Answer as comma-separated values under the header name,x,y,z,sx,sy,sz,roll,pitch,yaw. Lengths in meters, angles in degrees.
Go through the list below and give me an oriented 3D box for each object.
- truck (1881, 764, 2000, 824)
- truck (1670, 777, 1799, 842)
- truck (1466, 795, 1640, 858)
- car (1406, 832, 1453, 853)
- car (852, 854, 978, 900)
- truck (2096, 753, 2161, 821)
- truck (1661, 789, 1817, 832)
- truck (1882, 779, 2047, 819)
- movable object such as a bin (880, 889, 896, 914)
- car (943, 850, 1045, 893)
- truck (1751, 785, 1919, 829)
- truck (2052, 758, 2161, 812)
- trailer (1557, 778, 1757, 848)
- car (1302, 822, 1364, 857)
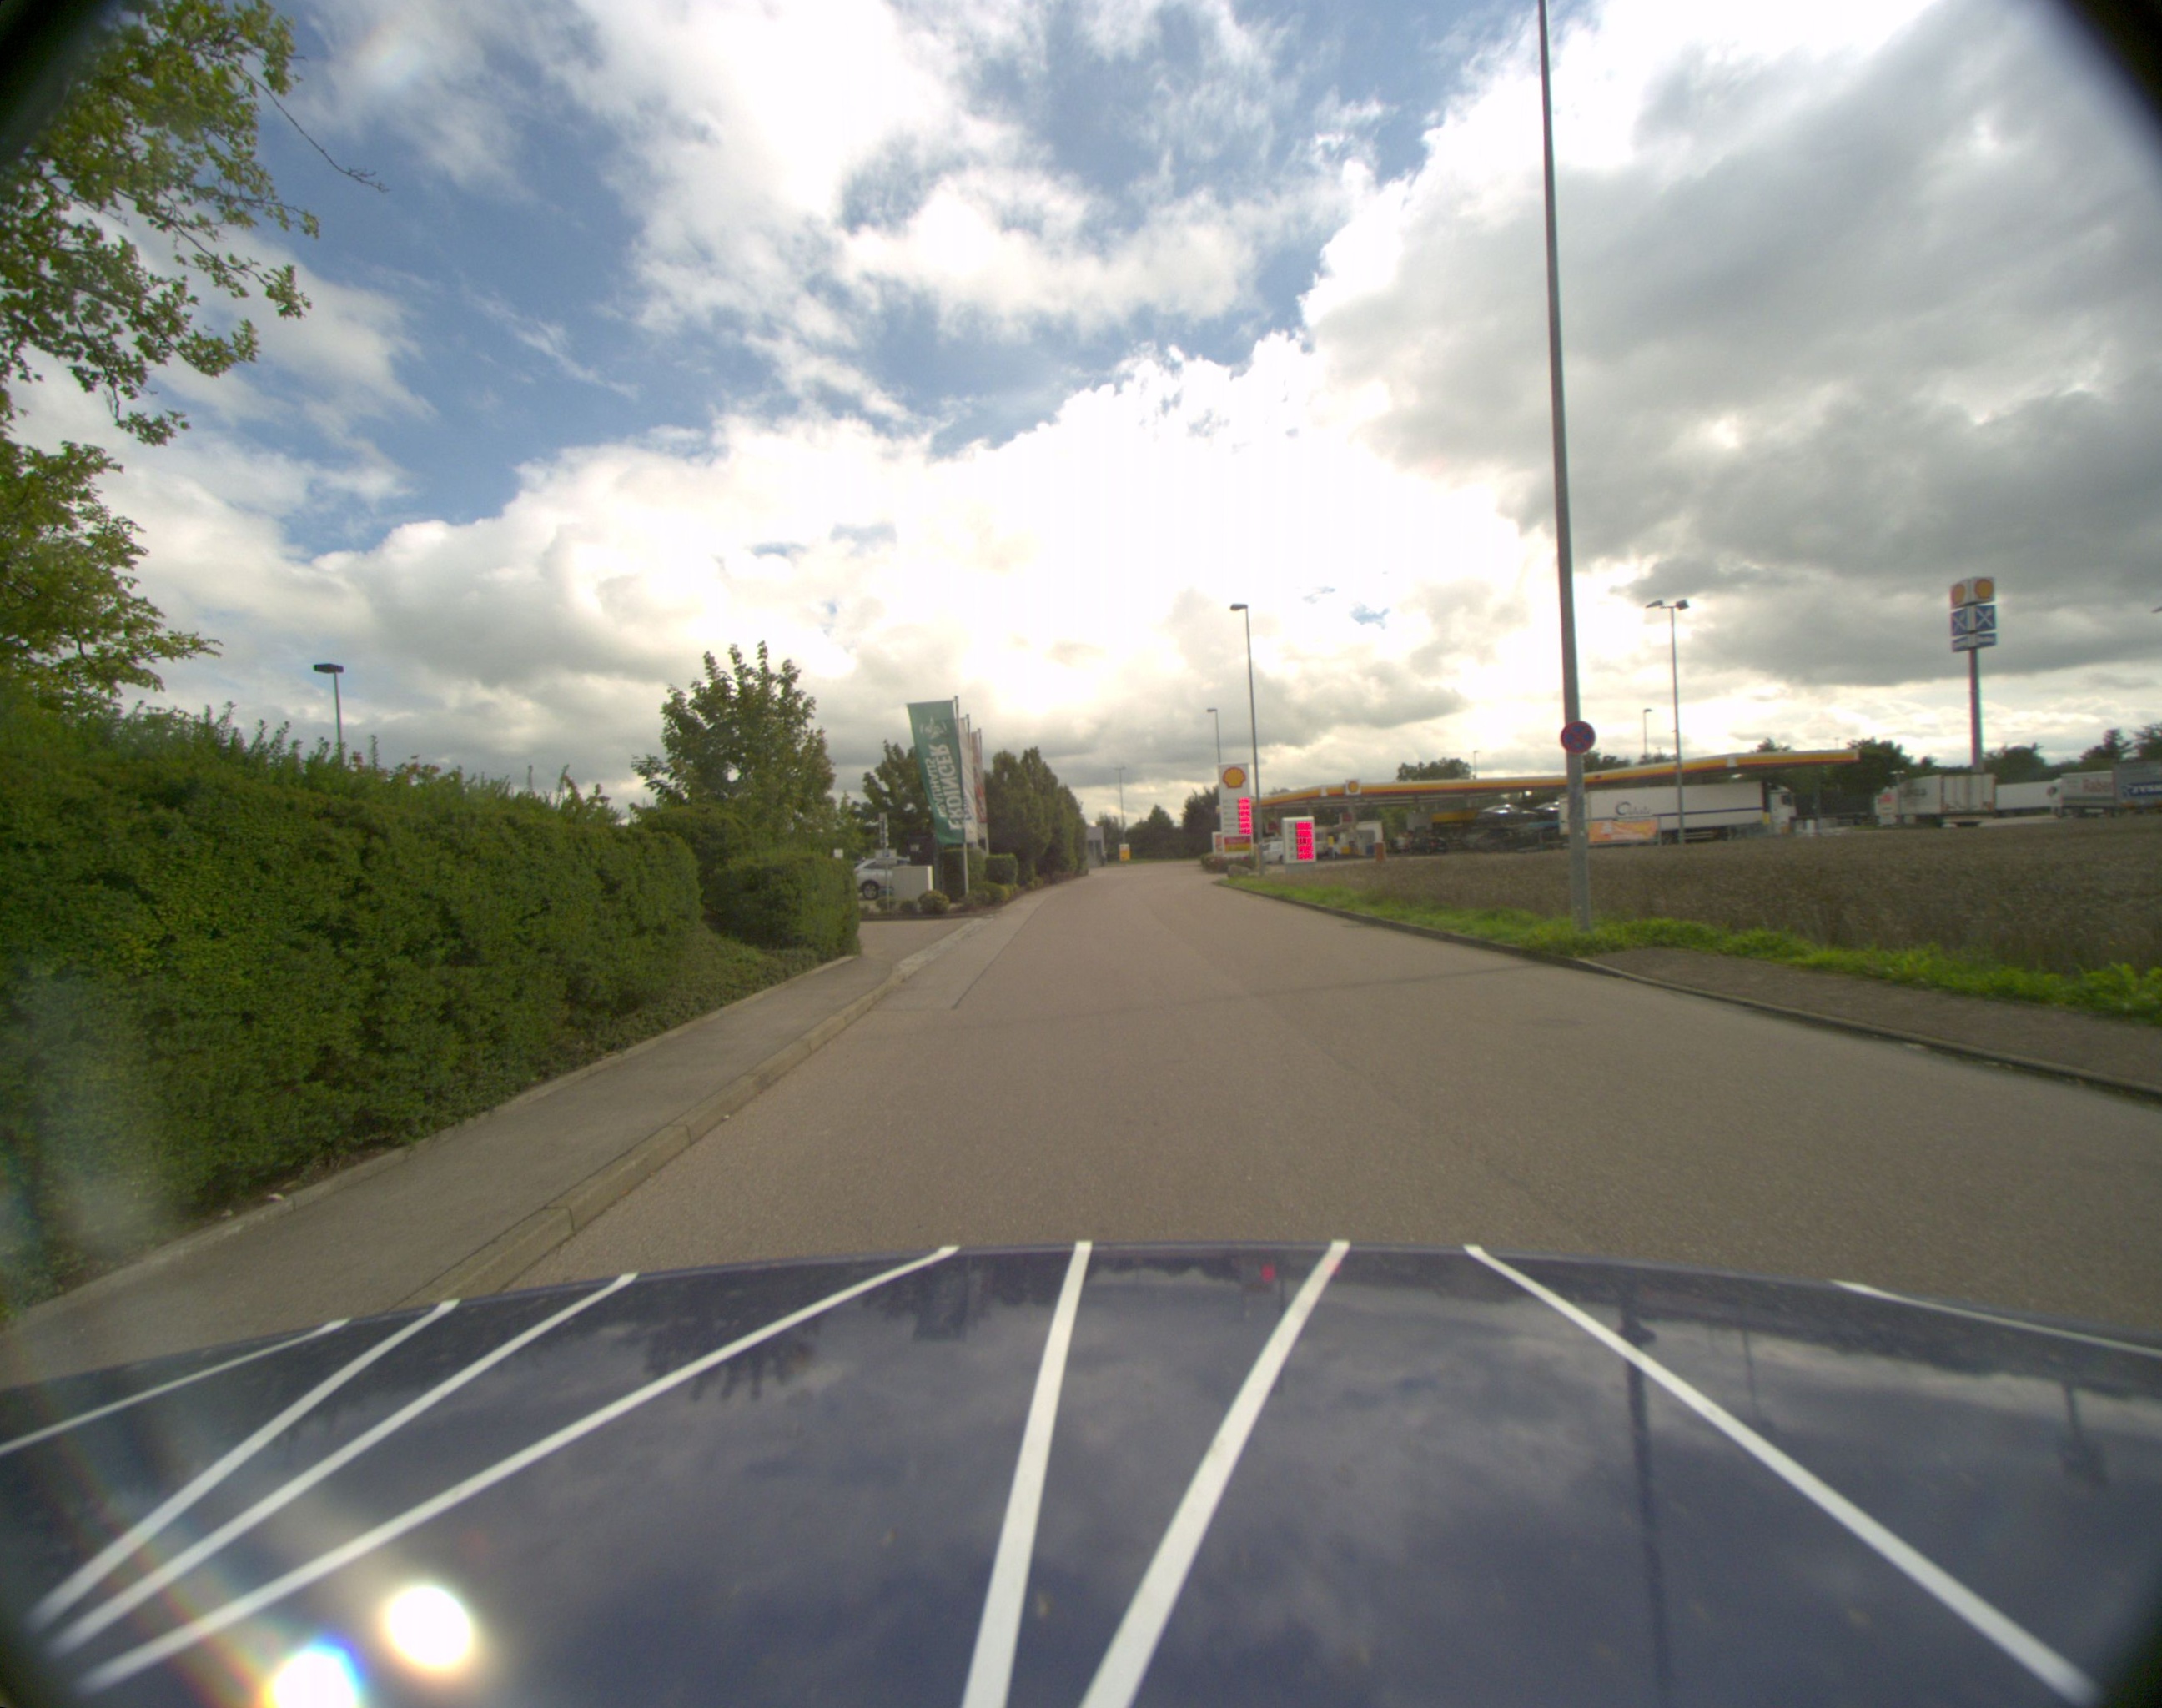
name,x,y,z,sx,sy,sz,roll,pitch,yaw
truck,68.644,-4.649,61.140,2.955,4.089,14.774,-2,2,35
truck,45.220,-3.074,52.662,7.169,4.001,2.710,-3,0,-10
truck,34.690,-2.061,55.700,13.266,3.901,2.748,-3,2,-18
car,30.447,-0.973,66.518,1.717,1.592,3.757,-3,0,-14
car,-6.868,0.950,31.677,4.672,1.687,1.920,-2,1,11
truck,71.003,-4.428,46.858,15.459,3.871,2.822,-3,1,-8
truck,72.635,-4.682,84.374,12.775,3.871,2.829,-2,2,34
truck,107.365,-6.584,92.767,12.775,3.871,2.829,-2,2,34
movable object such as a bin,-5.628,1.385,22.140,0.288,0.680,0.368,-3,0,12
car,-3.989,0.810,35.207,4.358,1.706,1.658,-3,0,8
truck,83.593,-5.133,84.778,12.978,3.871,2.829,-2,2,36
truck,89.437,-5.863,66.454,2.986,4.087,11.595,-3,0,39
trailer,39.138,-2.756,51.641,12.848,4.001,2.710,-3,0,-10
car,21.416,-1.256,64.408,5.819,2.770,2.219,-3,0,-42
